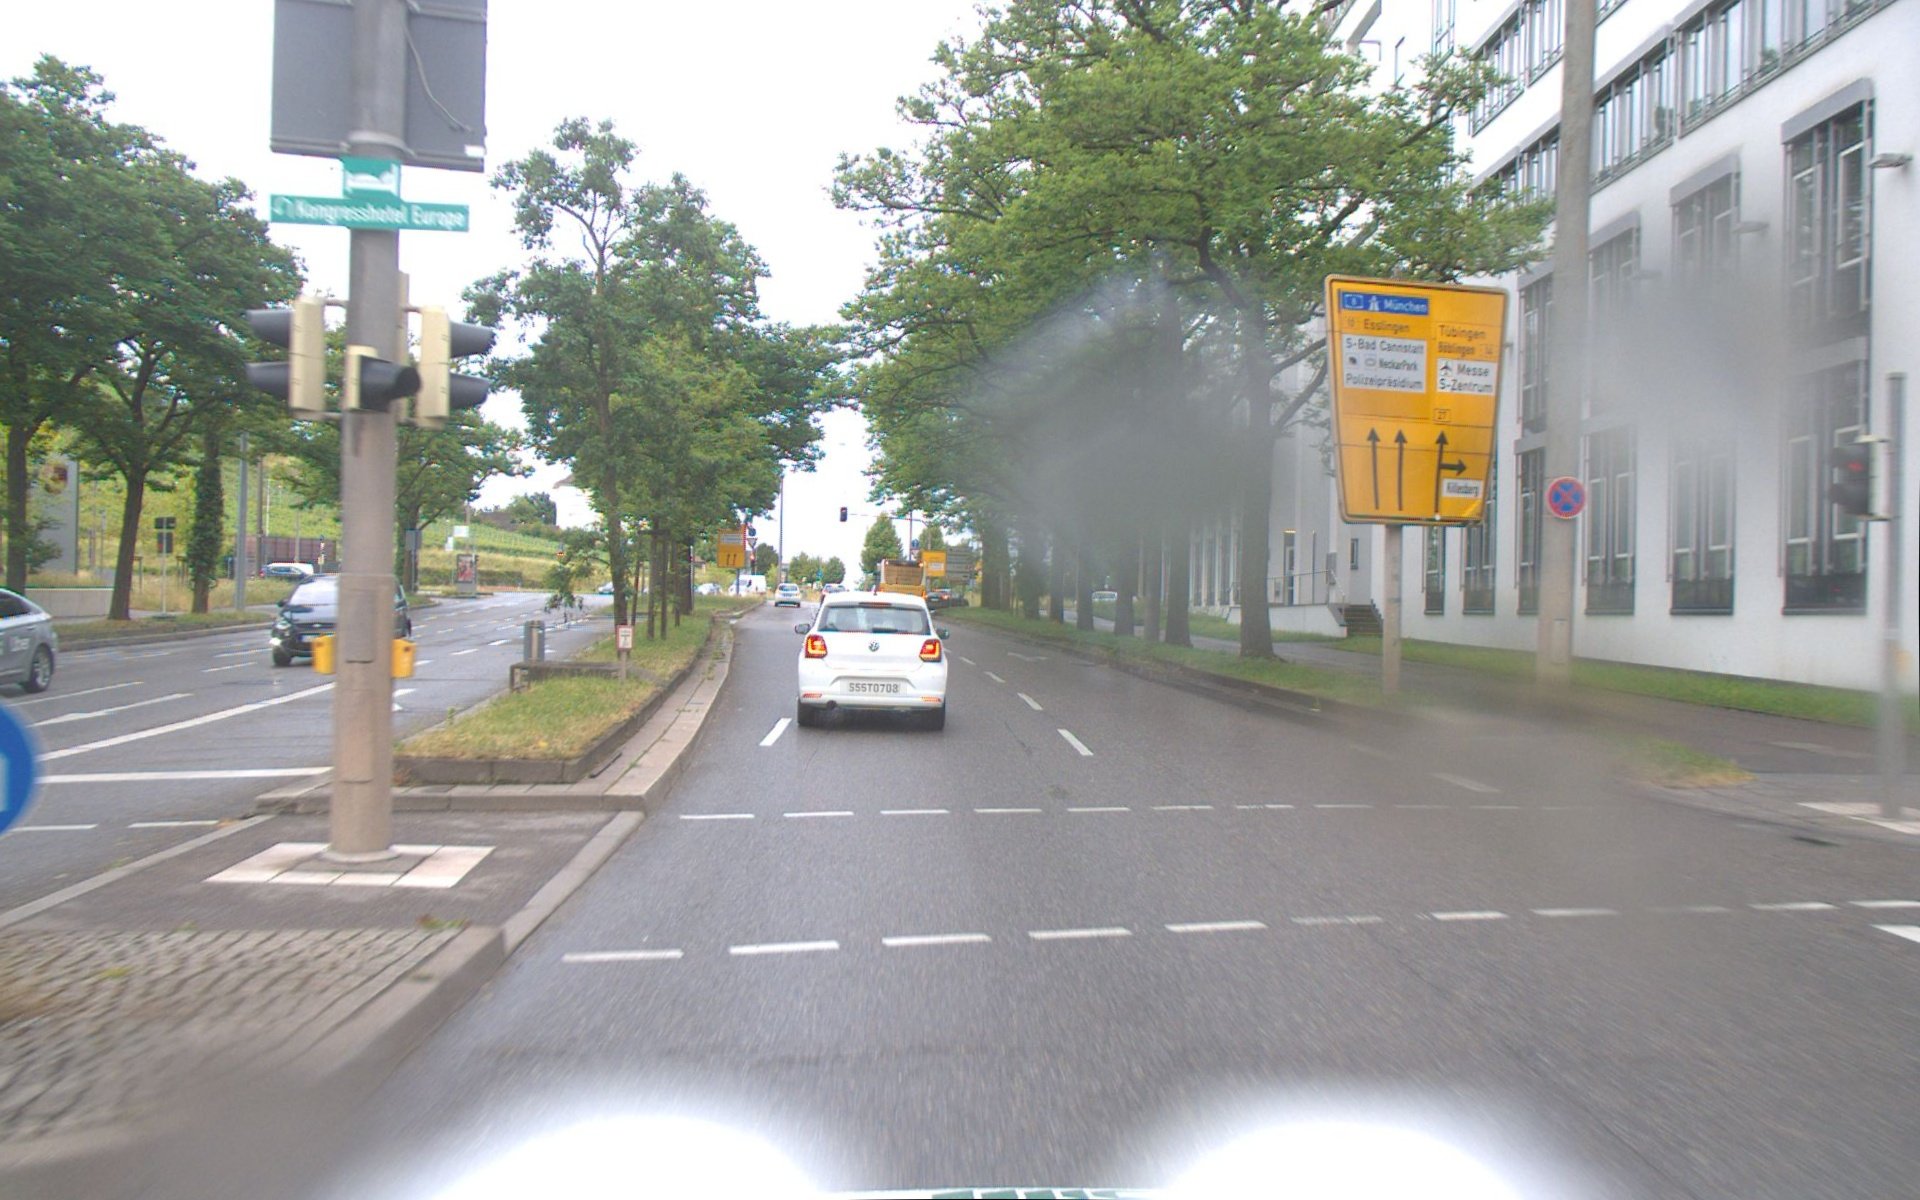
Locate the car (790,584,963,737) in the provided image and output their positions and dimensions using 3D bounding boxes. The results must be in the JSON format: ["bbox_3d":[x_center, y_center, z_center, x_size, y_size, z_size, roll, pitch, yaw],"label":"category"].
[{"bbox_3d":[-0.995,0.615,19.286,1.759,1.528,3.997,2,0,-4],"label":"car"}]

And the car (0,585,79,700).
[{"bbox_3d":[-12.924,0.541,20.688,1.780,1.436,4.648,-1,0,-7],"label":"car"}]

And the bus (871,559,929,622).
[{"bbox_3d":[-3.483,-0.554,93.713,2.772,3.324,9.991,2,0,-4],"label":"bus"}]

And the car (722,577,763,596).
[{"bbox_3d":[-24.249,-1.531,184.992,1.953,2.049,5.709,1,0,23],"label":"car"}]

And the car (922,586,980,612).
[{"bbox_3d":[-0.555,-0.047,106.072,1.669,1.542,3.806,0,-1,40],"label":"car"}]

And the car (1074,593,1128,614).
[{"bbox_3d":[10.984,0.258,128.904,3.903,1.563,2.001,1,0,16],"label":"car"}]

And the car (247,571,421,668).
[{"bbox_3d":[-11.625,0.307,31.100,1.956,1.644,5.111,-1,1,-8],"label":"car"}]

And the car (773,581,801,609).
[{"bbox_3d":[-11.206,-0.285,107.449,1.759,1.772,3.995,0,0,-5],"label":"car"}]

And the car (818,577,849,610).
[{"bbox_3d":[-8.115,-0.413,106.065,1.954,2.049,3.996,1,-1,-4],"label":"car"}]

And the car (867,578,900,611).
[{"bbox_3d":[-4.976,-0.328,107.036,1.954,2.049,3.996,1,-1,-4],"label":"car"}]
